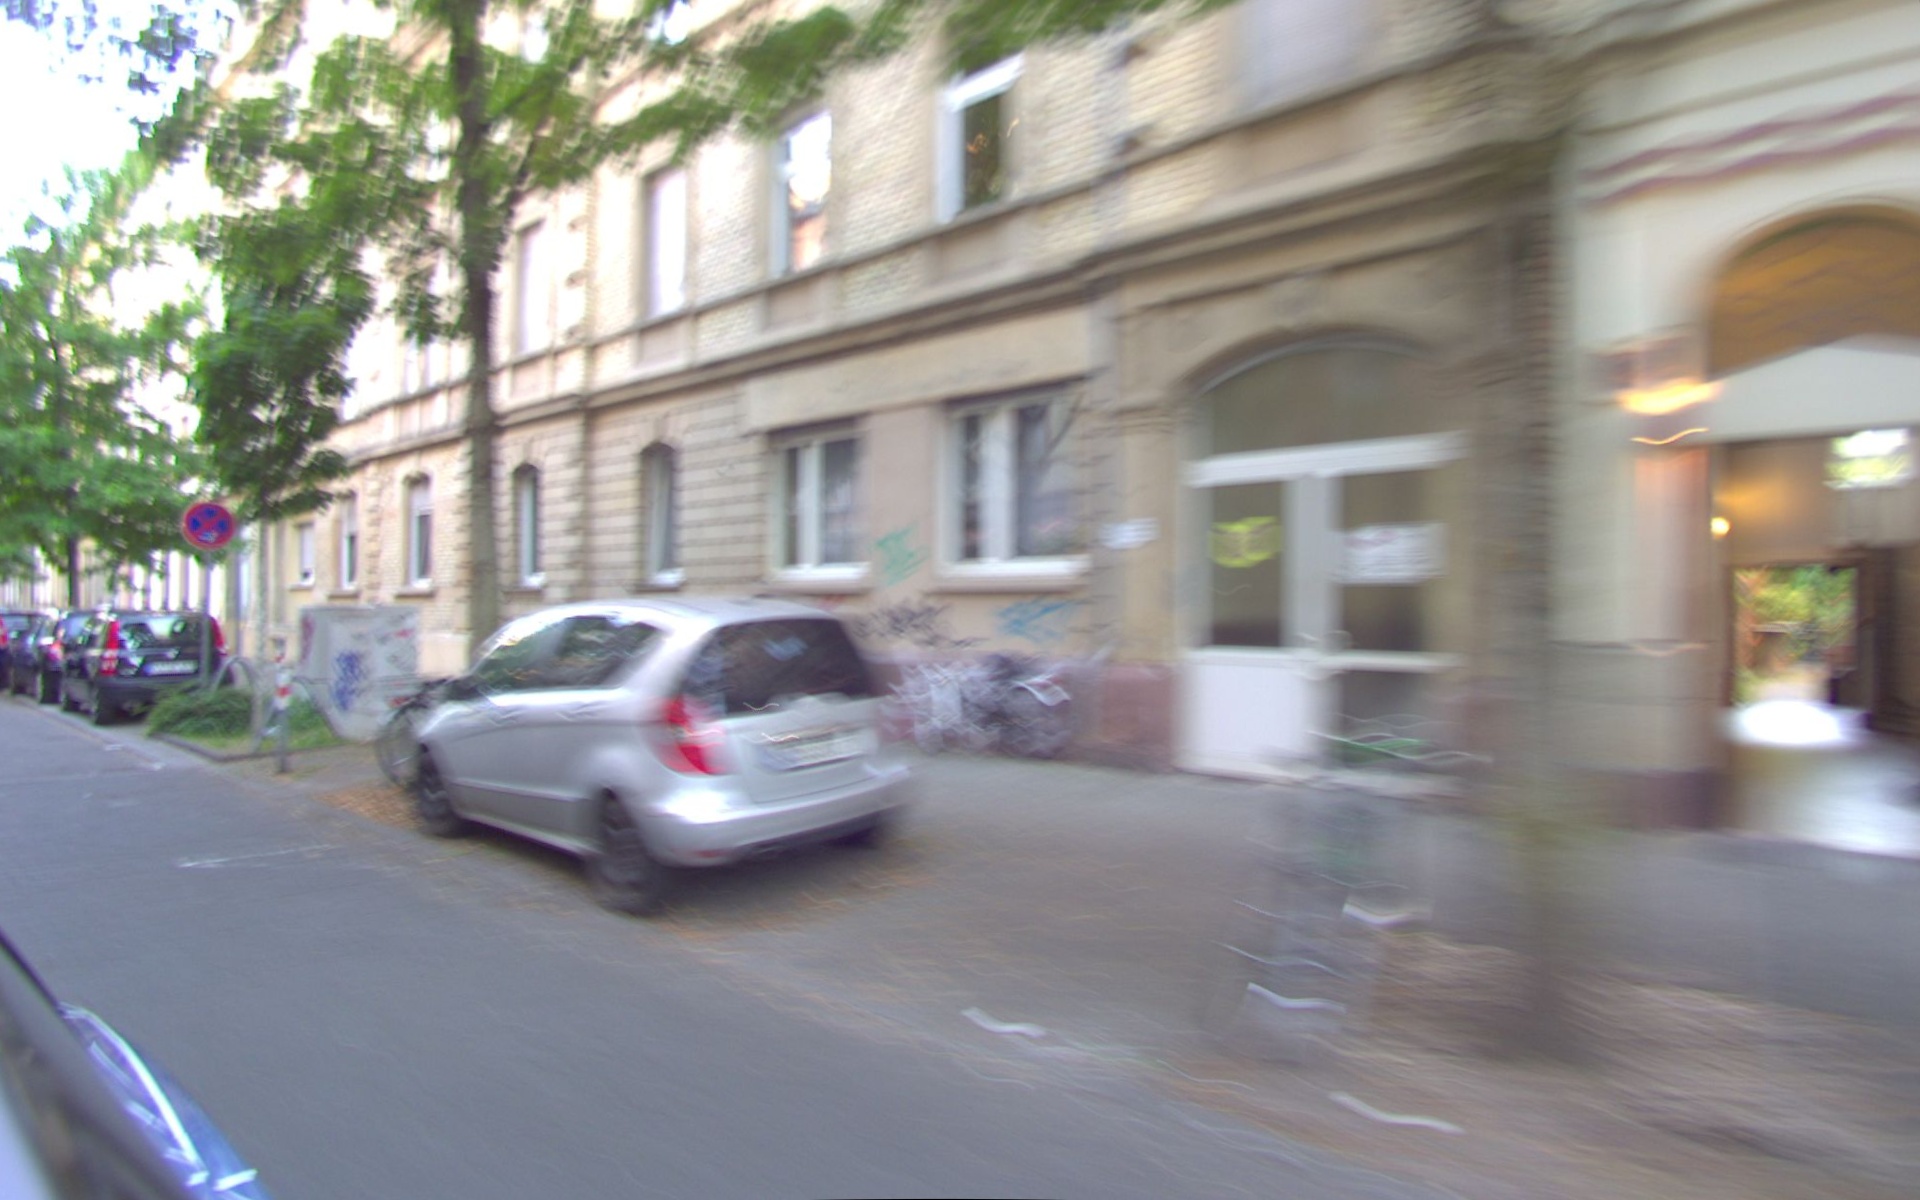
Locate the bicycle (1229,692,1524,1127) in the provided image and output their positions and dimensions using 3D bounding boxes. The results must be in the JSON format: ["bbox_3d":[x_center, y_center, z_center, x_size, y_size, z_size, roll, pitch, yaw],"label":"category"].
[{"bbox_3d":[1.547,0.933,3.585,0.430,1.011,1.666,0,2,42],"label":"bicycle"}]

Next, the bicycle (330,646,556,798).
[{"bbox_3d":[-4.481,1.005,8.938,0.592,1.068,1.857,0,1,21],"label":"bicycle"}]

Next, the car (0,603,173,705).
[{"bbox_3d":[-14.873,0.824,17.127,3.708,1.513,1.674,0,1,39],"label":"car"}]

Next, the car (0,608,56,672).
[{"bbox_3d":[-23.786,0.942,24.840,4.254,1.473,1.749,0,-1,39],"label":"car"}]

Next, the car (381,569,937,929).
[{"bbox_3d":[-2.111,0.675,6.469,3.861,1.619,1.658,-1,0,42],"label":"car"}]

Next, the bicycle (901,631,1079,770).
[{"bbox_3d":[0.233,0.843,8.969,1.628,1.098,0.457,-2,1,42],"label":"bicycle"}]

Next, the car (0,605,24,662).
[{"bbox_3d":[-27.341,0.891,27.987,4.111,1.521,1.667,0,0,40],"label":"car"}]

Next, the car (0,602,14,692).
[{"bbox_3d":[-19.021,0.835,18.749,4.217,1.585,1.706,0,-1,40],"label":"car"}]

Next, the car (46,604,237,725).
[{"bbox_3d":[-11.857,0.823,14.593,3.559,1.513,1.504,0,1,40],"label":"car"}]
